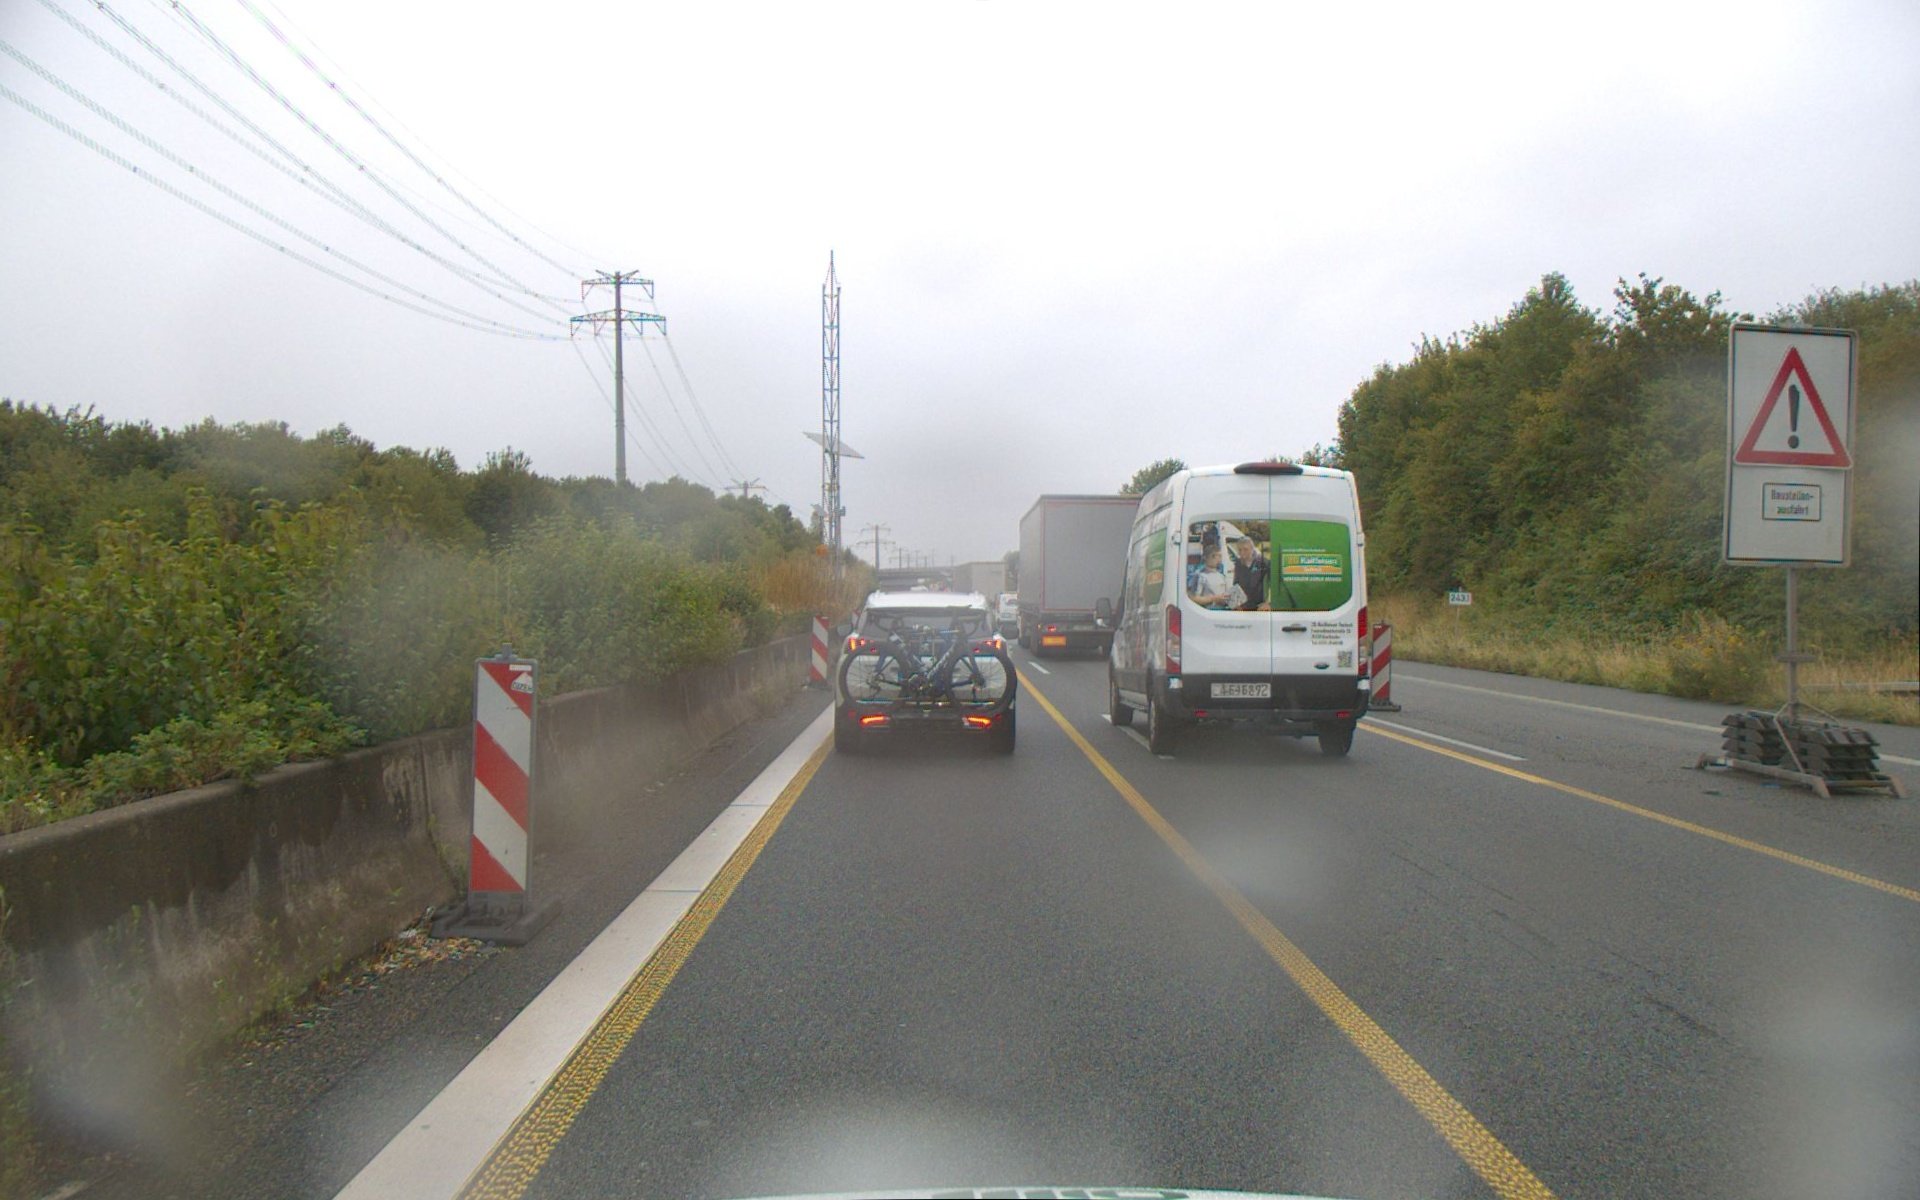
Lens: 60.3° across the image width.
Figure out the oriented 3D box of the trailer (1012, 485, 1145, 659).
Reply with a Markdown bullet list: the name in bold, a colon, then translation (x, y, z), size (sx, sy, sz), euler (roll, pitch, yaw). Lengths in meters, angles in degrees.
- **trailer**: translation (3.088, -0.683, 46.936), size (2.651, 4.219, 13.730), euler (0, 0, -1)

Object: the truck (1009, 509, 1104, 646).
- **truck**: translation (3.066, -0.710, 53.822), size (2.651, 4.211, 5.689), euler (0, 0, -1)

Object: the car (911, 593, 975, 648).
- **car**: translation (-0.517, 0.581, 48.790), size (1.812, 1.557, 3.999), euler (0, 0, -1)

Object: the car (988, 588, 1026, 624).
- **car**: translation (2.455, 0.295, 87.633), size (1.792, 1.871, 4.654), euler (0, 0, -1)

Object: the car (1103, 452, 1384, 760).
- **car**: translation (2.854, 0.046, 18.081), size (1.953, 2.831, 5.754), euler (0, 0, -2)

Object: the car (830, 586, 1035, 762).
- **car**: translation (-0.278, 0.655, 17.074), size (1.812, 1.557, 4.767), euler (0, 0, -1)

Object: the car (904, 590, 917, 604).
- **car**: translation (-7.419, -0.476, 248.675), size (1.892, 2.008, 4.000), euler (0, 1, -1)

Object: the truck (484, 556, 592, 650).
- **truck**: translation (-16.077, 0.123, 63.466), size (2.215, 3.284, 7.051), euler (-3, 0, -1)

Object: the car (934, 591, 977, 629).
- **car**: translation (-0.220, 0.407, 71.213), size (1.812, 1.557, 3.999), euler (0, 0, -1)

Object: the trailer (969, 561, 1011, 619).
- **trailer**: translation (2.173, -0.721, 124.011), size (2.638, 4.148, 13.630), euler (0, 0, -1)
